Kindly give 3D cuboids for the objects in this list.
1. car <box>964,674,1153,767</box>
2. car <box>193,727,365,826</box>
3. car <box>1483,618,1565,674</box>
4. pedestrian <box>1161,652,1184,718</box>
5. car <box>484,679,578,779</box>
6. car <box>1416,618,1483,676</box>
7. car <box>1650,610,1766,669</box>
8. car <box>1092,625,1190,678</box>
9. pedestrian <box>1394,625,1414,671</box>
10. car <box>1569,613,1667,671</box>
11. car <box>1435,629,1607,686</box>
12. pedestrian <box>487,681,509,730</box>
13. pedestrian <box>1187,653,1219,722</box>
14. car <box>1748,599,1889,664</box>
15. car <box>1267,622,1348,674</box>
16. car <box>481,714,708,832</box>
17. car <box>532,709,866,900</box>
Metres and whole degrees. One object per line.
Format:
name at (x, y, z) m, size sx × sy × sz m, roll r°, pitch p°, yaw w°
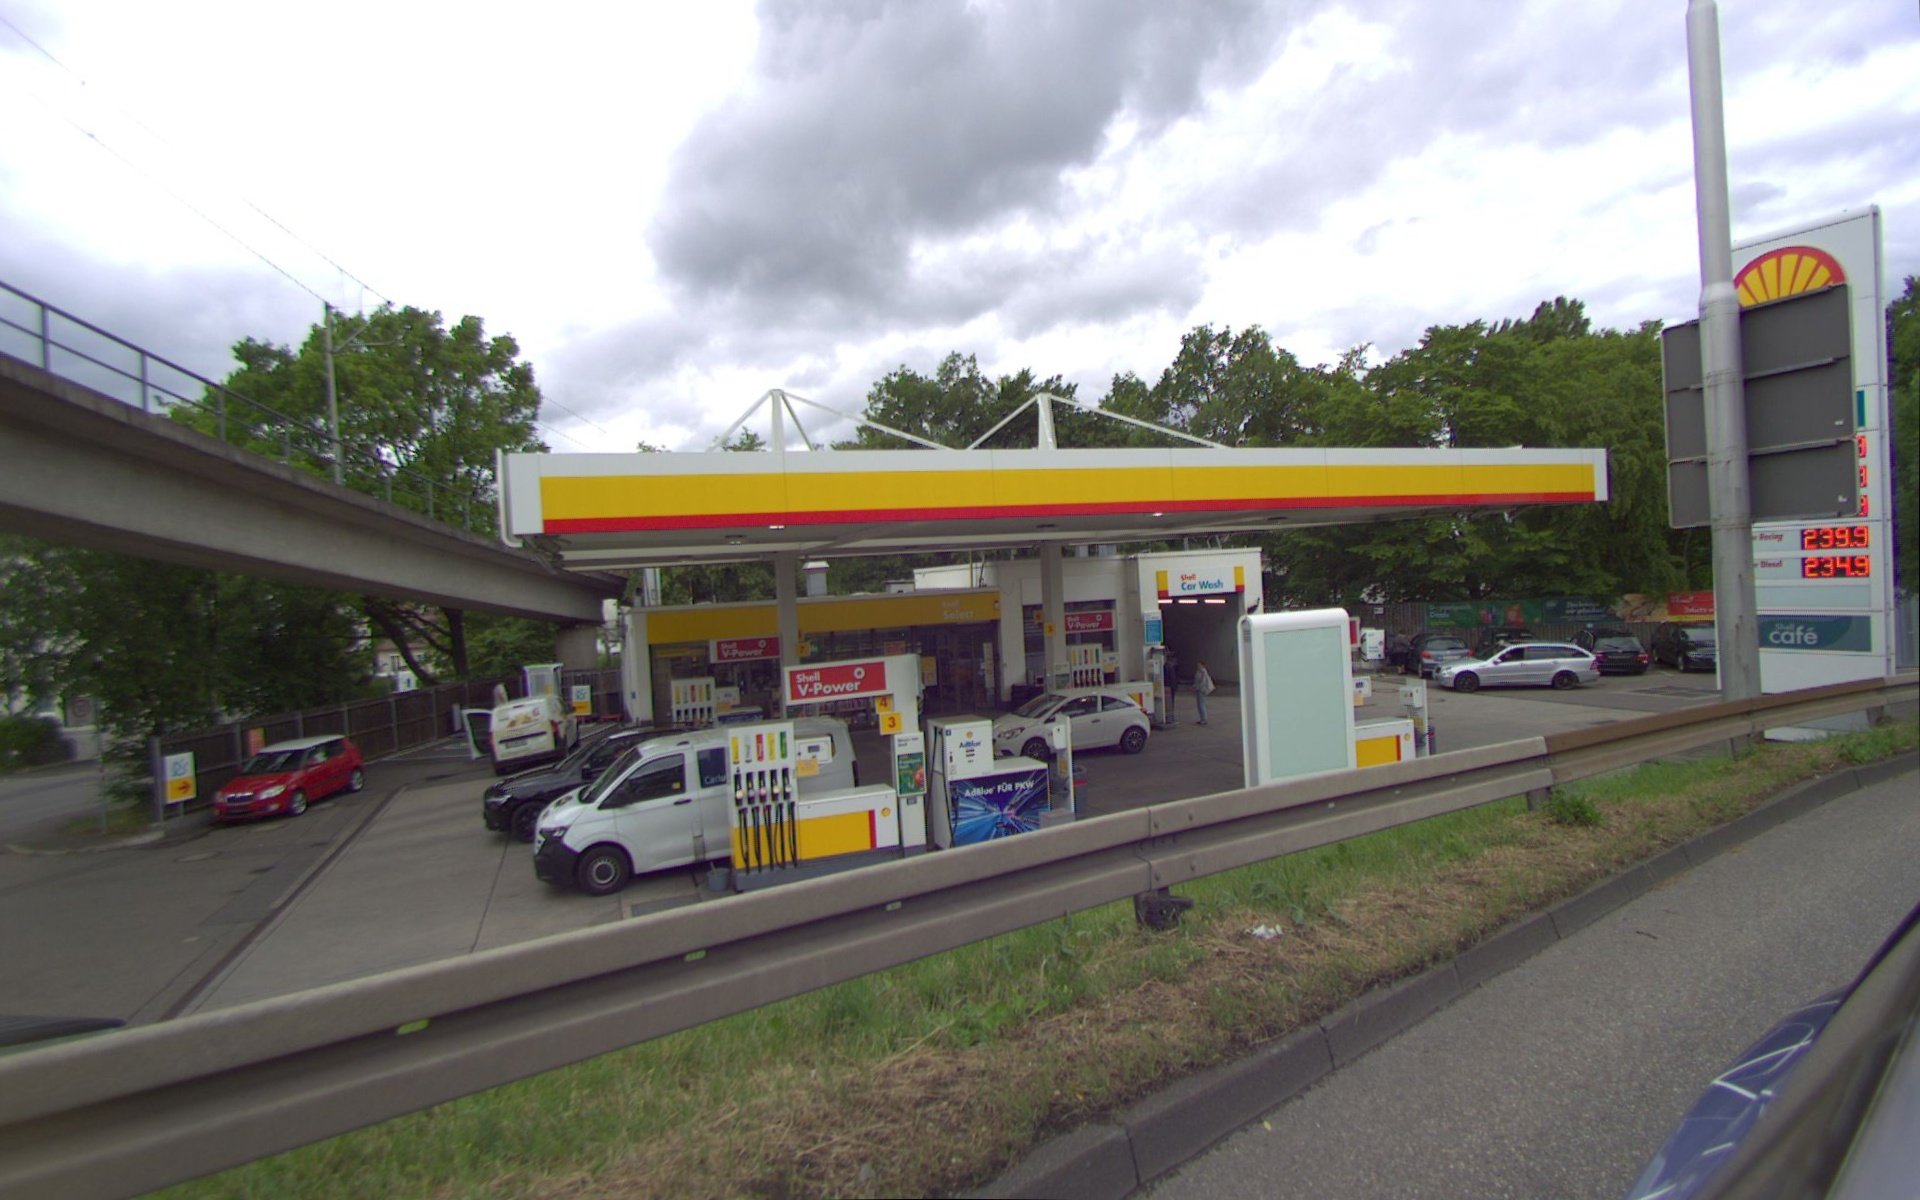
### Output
car at (2.220, 2.671, 22.931) m, size 3.798 × 1.504 × 1.745 m, roll -4°, pitch 1°, yaw -20°
car at (-15.799, 4.047, 23.721) m, size 1.626 × 1.476 × 3.631 m, roll -3°, pitch 2°, yaw -2°
car at (18.944, 1.506, 34.161) m, size 1.713 × 1.453 × 4.193 m, roll -1°, pitch 3°, yaw 20°
pedestrian at (5.666, 2.256, 26.960) m, size 0.423 × 1.726 × 0.494 m, roll -1°, pitch 0°, yaw -11°
car at (-11.452, 3.381, 27.241) m, size 1.705 × 1.961 × 3.886 m, roll -4°, pitch 2°, yaw -15°
car at (16.684, 1.559, 34.667) m, size 1.608 × 1.538 × 4.076 m, roll -1°, pitch 3°, yaw 20°
car at (24.119, 1.238, 32.805) m, size 1.712 × 1.444 × 4.270 m, roll -4°, pitch 2°, yaw 19°
car at (6.474, 1.812, 36.528) m, size 1.705 × 1.504 × 3.886 m, roll -4°, pitch 2°, yaw -20°
pedestrian at (15.264, 1.638, 34.784) m, size 0.463 × 1.559 × 0.429 m, roll -4°, pitch -4°, yaw 18°
car at (21.809, 1.349, 33.725) m, size 1.713 × 1.453 × 4.268 m, roll -4°, pitch 2°, yaw 20°
car at (16.870, 1.736, 30.645) m, size 4.229 × 1.449 × 1.596 m, roll -2°, pitch 2°, yaw 14°
pedestrian at (-15.780, 3.596, 34.561) m, size 0.498 × 1.615 × 0.426 m, roll -3°, pitch 2°, yaw -9°
pedestrian at (6.370, 2.291, 26.579) m, size 0.597 × 1.726 × 0.545 m, roll 0°, pitch 0°, yaw -26°
car at (26.990, 0.929, 31.997) m, size 1.711 × 1.610 × 4.273 m, roll -4°, pitch 2°, yaw 16°
car at (12.489, 1.682, 36.630) m, size 1.692 × 1.453 × 4.105 m, roll -2°, pitch 3°, yaw 3°
car at (-6.823, 3.190, 19.170) m, size 3.797 × 1.504 × 1.745 m, roll -4°, pitch 1°, yaw -18°
car at (-3.979, 2.982, 15.551) m, size 4.616 × 2.036 × 1.744 m, roll -4°, pitch -1°, yaw -21°
